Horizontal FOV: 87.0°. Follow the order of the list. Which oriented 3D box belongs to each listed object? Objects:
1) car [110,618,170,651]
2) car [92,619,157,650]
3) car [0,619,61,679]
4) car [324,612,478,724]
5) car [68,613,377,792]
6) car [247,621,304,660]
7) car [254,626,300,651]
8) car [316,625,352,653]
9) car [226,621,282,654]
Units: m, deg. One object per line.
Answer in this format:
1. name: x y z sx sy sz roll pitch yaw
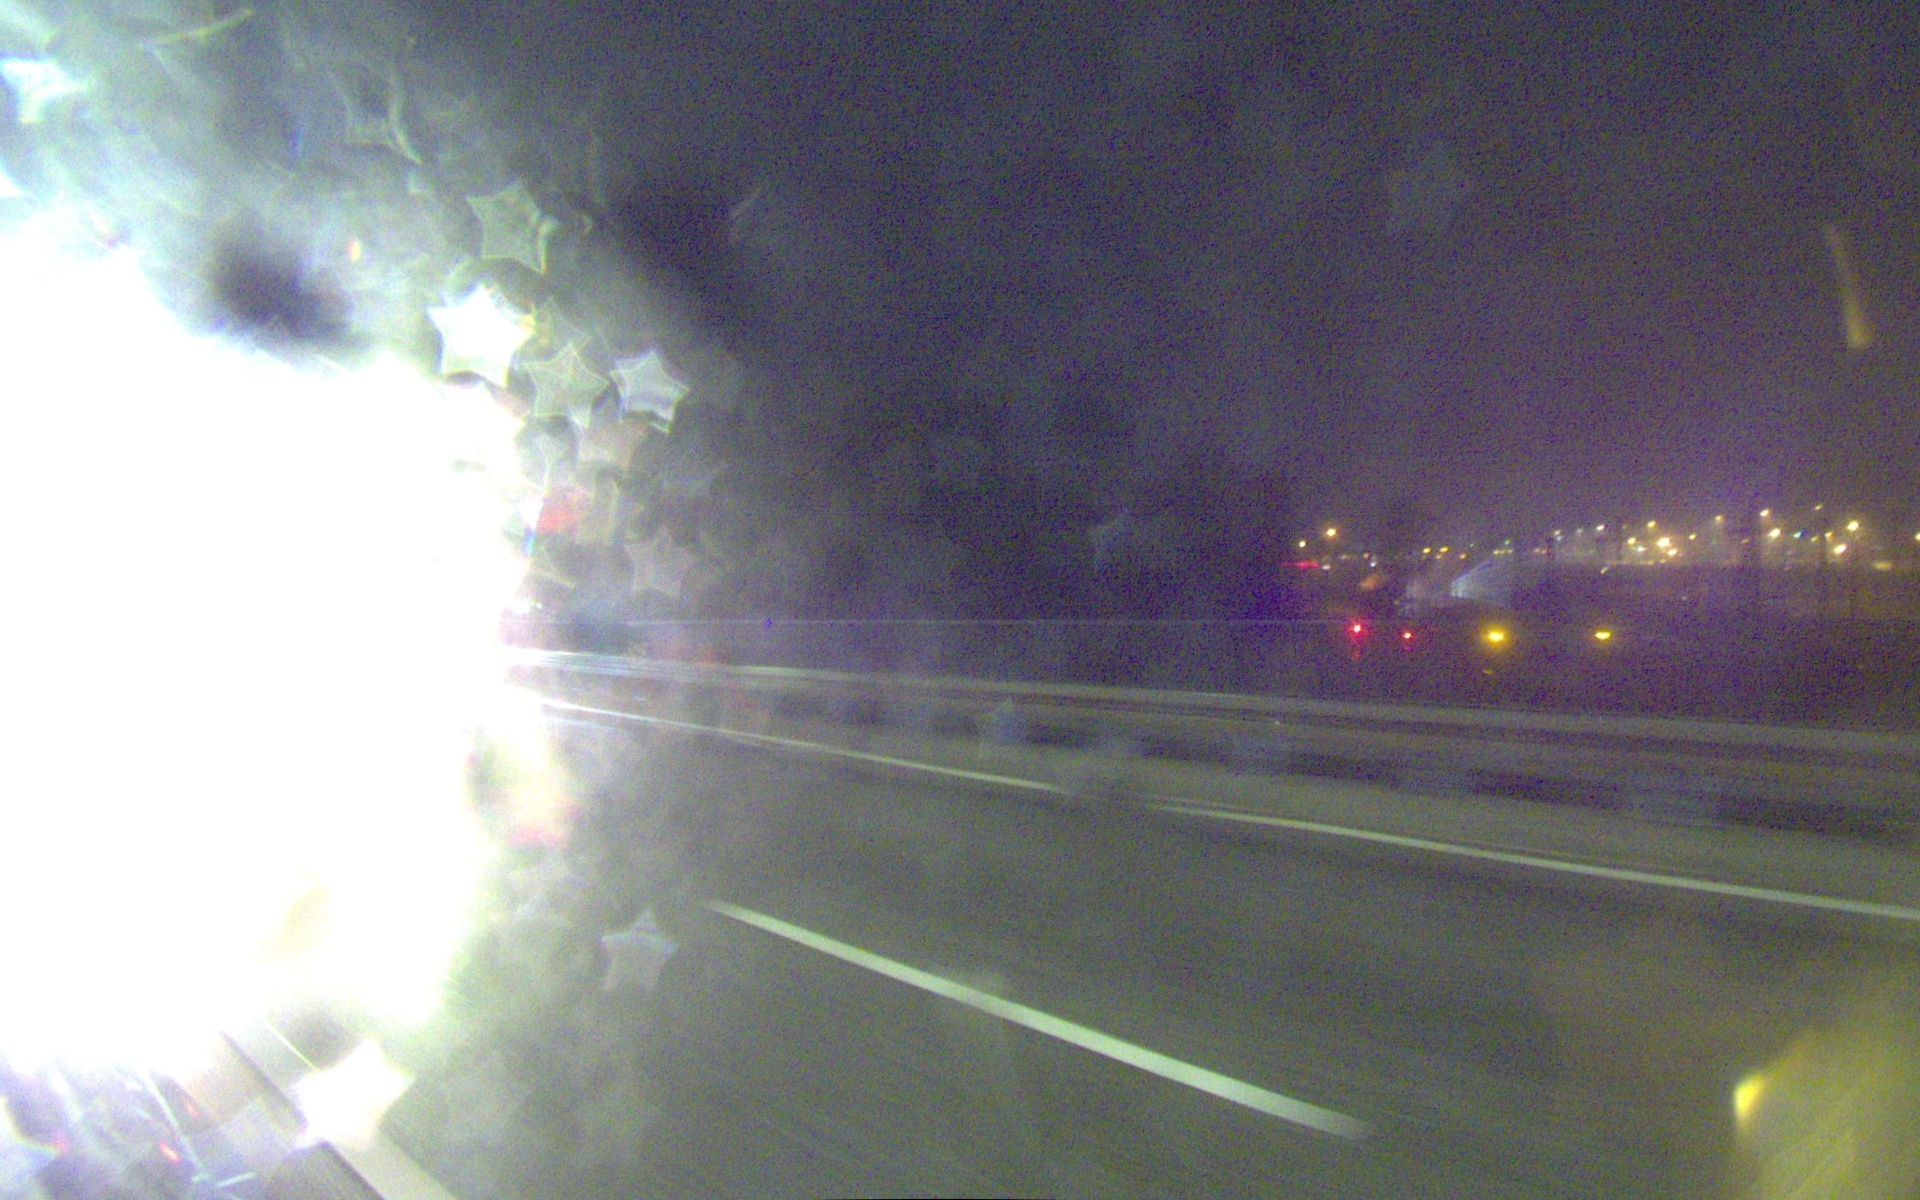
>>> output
1. car: -52.811 2.213 65.289 1.838 2.029 4.013 -1 -1 -21
2. car: -59.008 2.396 71.573 1.840 2.029 4.009 -1 -1 -11
3. car: -32.154 1.645 34.883 1.286 1.539 3.053 -11 10 -36
4. car: -9.018 1.031 16.222 1.453 1.597 3.194 0 -2 -43
5. car: -7.642 0.875 10.339 4.063 1.450 1.874 -1 -1 44
6. car: -26.828 1.559 39.630 1.743 1.438 4.229 1 -2 -35
7. car: -59.486 3.318 88.181 1.840 2.029 4.008 -2 -1 -10
8. car: -36.586 2.250 59.242 1.742 1.529 3.960 0 -1 -31
9. car: -39.213 2.031 56.284 1.971 1.687 4.632 -1 0 -28
